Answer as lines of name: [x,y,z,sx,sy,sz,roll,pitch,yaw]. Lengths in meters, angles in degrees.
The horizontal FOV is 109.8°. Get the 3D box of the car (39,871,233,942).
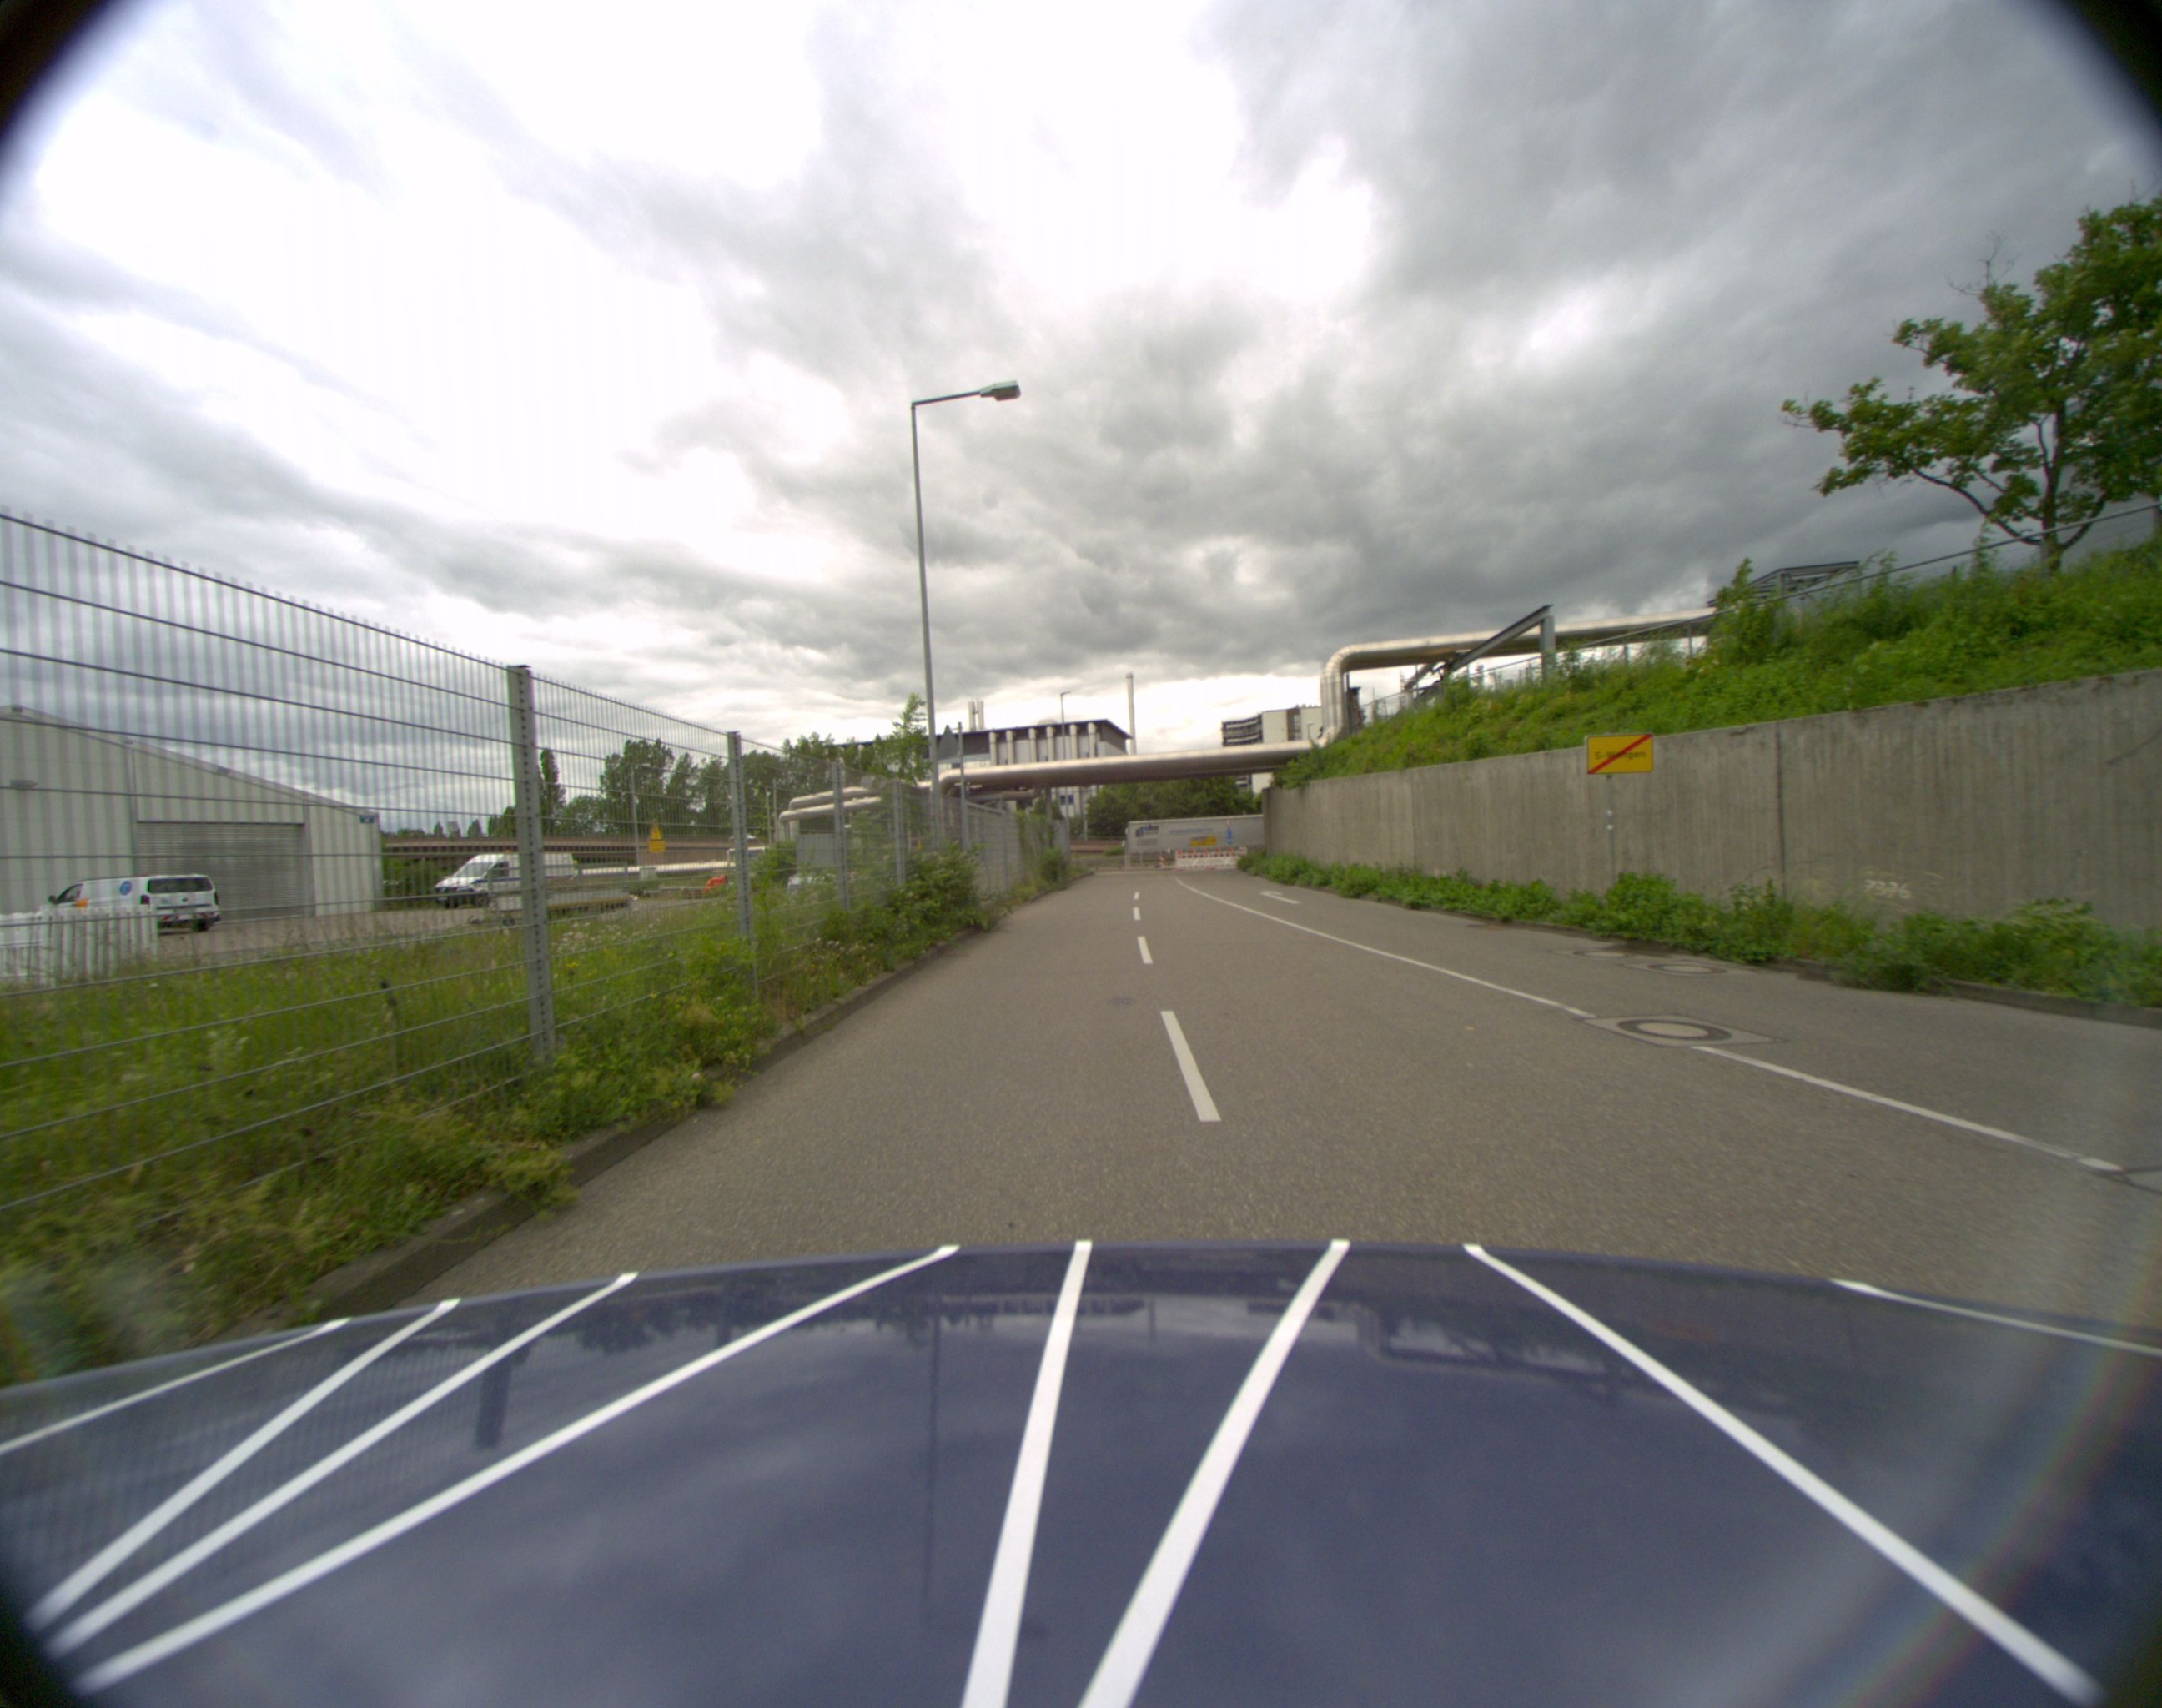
car: [-31.100,1.697,25.076,4.334,2.002,2.001,-3,1,8]

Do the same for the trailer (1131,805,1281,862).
trailer: [11.371,-1.891,70.104,13.250,4.301,3.166,-3,3,4]

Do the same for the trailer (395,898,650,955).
trailer: [-13.509,1.728,18.839,2.302,0.811,4.693,-3,1,13]

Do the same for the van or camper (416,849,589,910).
van or camper: [-27.338,1.114,36.307,2.571,2.534,6.132,-3,1,15]
